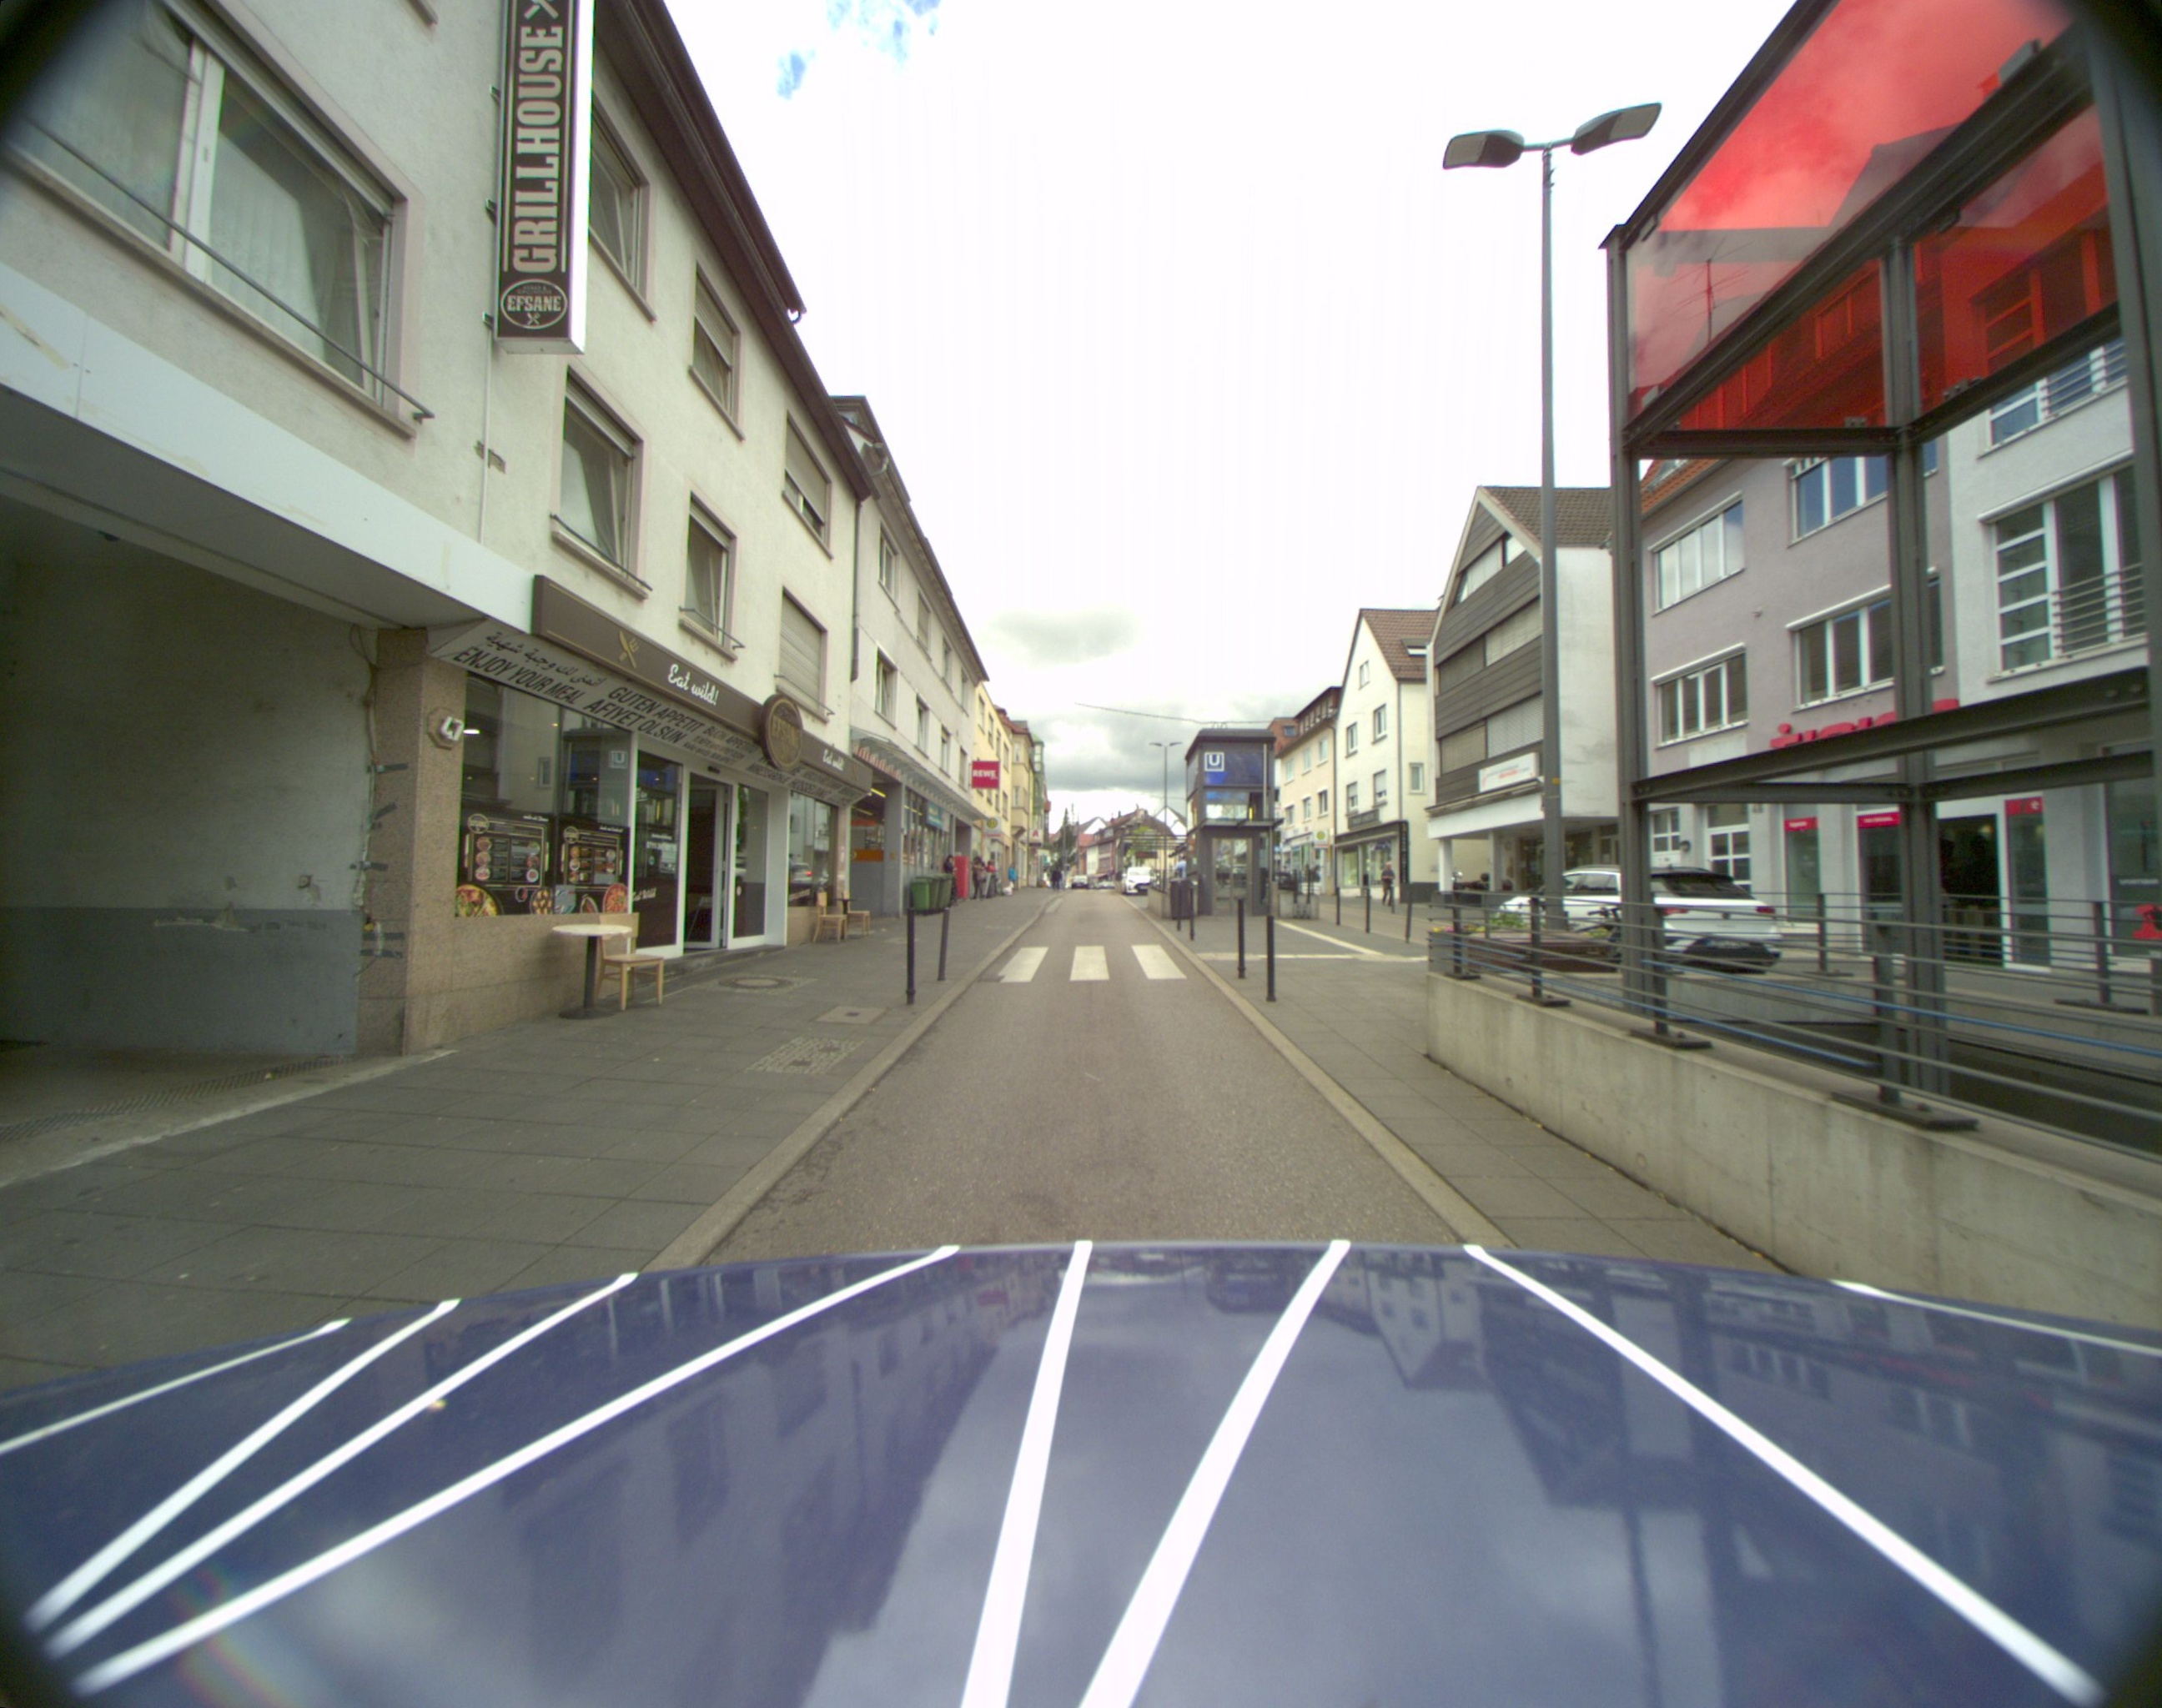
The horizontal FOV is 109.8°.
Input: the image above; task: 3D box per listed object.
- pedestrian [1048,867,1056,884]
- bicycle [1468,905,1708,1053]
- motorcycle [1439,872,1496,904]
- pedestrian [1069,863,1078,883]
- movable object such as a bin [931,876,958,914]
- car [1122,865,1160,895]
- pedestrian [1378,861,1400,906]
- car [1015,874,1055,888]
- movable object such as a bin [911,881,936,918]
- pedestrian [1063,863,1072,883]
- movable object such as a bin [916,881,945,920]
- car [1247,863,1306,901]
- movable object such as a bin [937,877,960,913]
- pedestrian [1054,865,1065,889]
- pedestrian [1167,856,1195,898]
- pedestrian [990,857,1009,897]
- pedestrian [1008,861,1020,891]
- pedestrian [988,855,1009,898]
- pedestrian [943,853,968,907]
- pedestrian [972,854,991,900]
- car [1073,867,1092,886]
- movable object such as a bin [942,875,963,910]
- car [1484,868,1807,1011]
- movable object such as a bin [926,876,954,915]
[{"bbox_3d":[-2.724,2.029,71.698,0.657,1.620,0.743,-2,1,-1],"label":"pedestrian"},{"bbox_3d":[4.391,1.070,6.635,1.782,1.216,0.460,0,1,0],"label":"bicycle"},{"bbox_3d":[14.770,1.313,29.074,1.854,1.134,0.634,-2,1,0],"label":"motorcycle"},{"bbox_3d":[-0.623,1.570,62.925,0.657,1.620,0.743,-2,1,-6],"label":"pedestrian"},{"bbox_3d":[-3.959,1.184,22.085,0.652,1.074,0.659,0,0,1],"label":"movable object such as a bin"},{"bbox_3d":[3.131,1.332,40.047,1.754,1.452,3.601,-2,0,1],"label":"car"},{"bbox_3d":[11.860,1.116,29.257,0.592,1.706,0.513,-2,1,1],"label":"pedestrian"},{"bbox_3d":[-5.547,3.273,91.692,4.627,1.570,1.777,0,0,-12],"label":"car"},{"bbox_3d":[-4.164,1.205,20.101,0.568,0.951,0.498,0,0,1],"label":"movable object such as a bin"},{"bbox_3d":[-1.128,1.601,62.991,0.657,1.620,0.743,-2,1,-6],"label":"pedestrian"},{"bbox_3d":[-4.091,1.258,20.689,0.670,1.024,0.560,0,0,1],"label":"movable object such as a bin"},{"bbox_3d":[9.052,1.259,35.464,1.683,1.562,4.122,-2,0,1],"label":"car"},{"bbox_3d":[-3.958,1.214,22.729,0.569,1.053,0.574,0,0,1],"label":"movable object such as a bin"},{"bbox_3d":[-1.457,1.545,51.158,0.657,1.620,0.743,-2,1,-1],"label":"pedestrian"},{"bbox_3d":[4.473,1.025,34.032,1.097,1.831,0.931,-2,1,1],"label":"pedestrian"},{"bbox_3d":[-3.633,1.009,33.783,0.608,1.716,0.626,-2,1,-29],"label":"pedestrian"},{"bbox_3d":[-3.775,1.223,42.768,0.627,1.620,0.607,-2,1,-5],"label":"pedestrian"},{"bbox_3d":[-3.579,0.973,32.925,0.629,1.811,0.605,-2,1,-34],"label":"pedestrian"},{"bbox_3d":[-4.116,0.849,24.940,0.628,1.716,0.606,-2,1,-22],"label":"pedestrian"},{"bbox_3d":[-3.810,0.870,29.051,0.627,1.715,0.607,2,0,-5],"label":"pedestrian"},{"bbox_3d":[0.164,2.148,72.617,1.741,1.608,3.843,-2,0,0],"label":"car"},{"bbox_3d":[-3.937,1.170,23.313,0.560,1.050,0.559,0,0,1],"label":"movable object such as a bin"},{"bbox_3d":[7.828,1.063,11.133,1.683,1.562,4.122,-2,0,1],"label":"car"},{"bbox_3d":[-3.949,1.157,21.355,0.652,1.074,0.673,0,0,1],"label":"movable object such as a bin"}]
